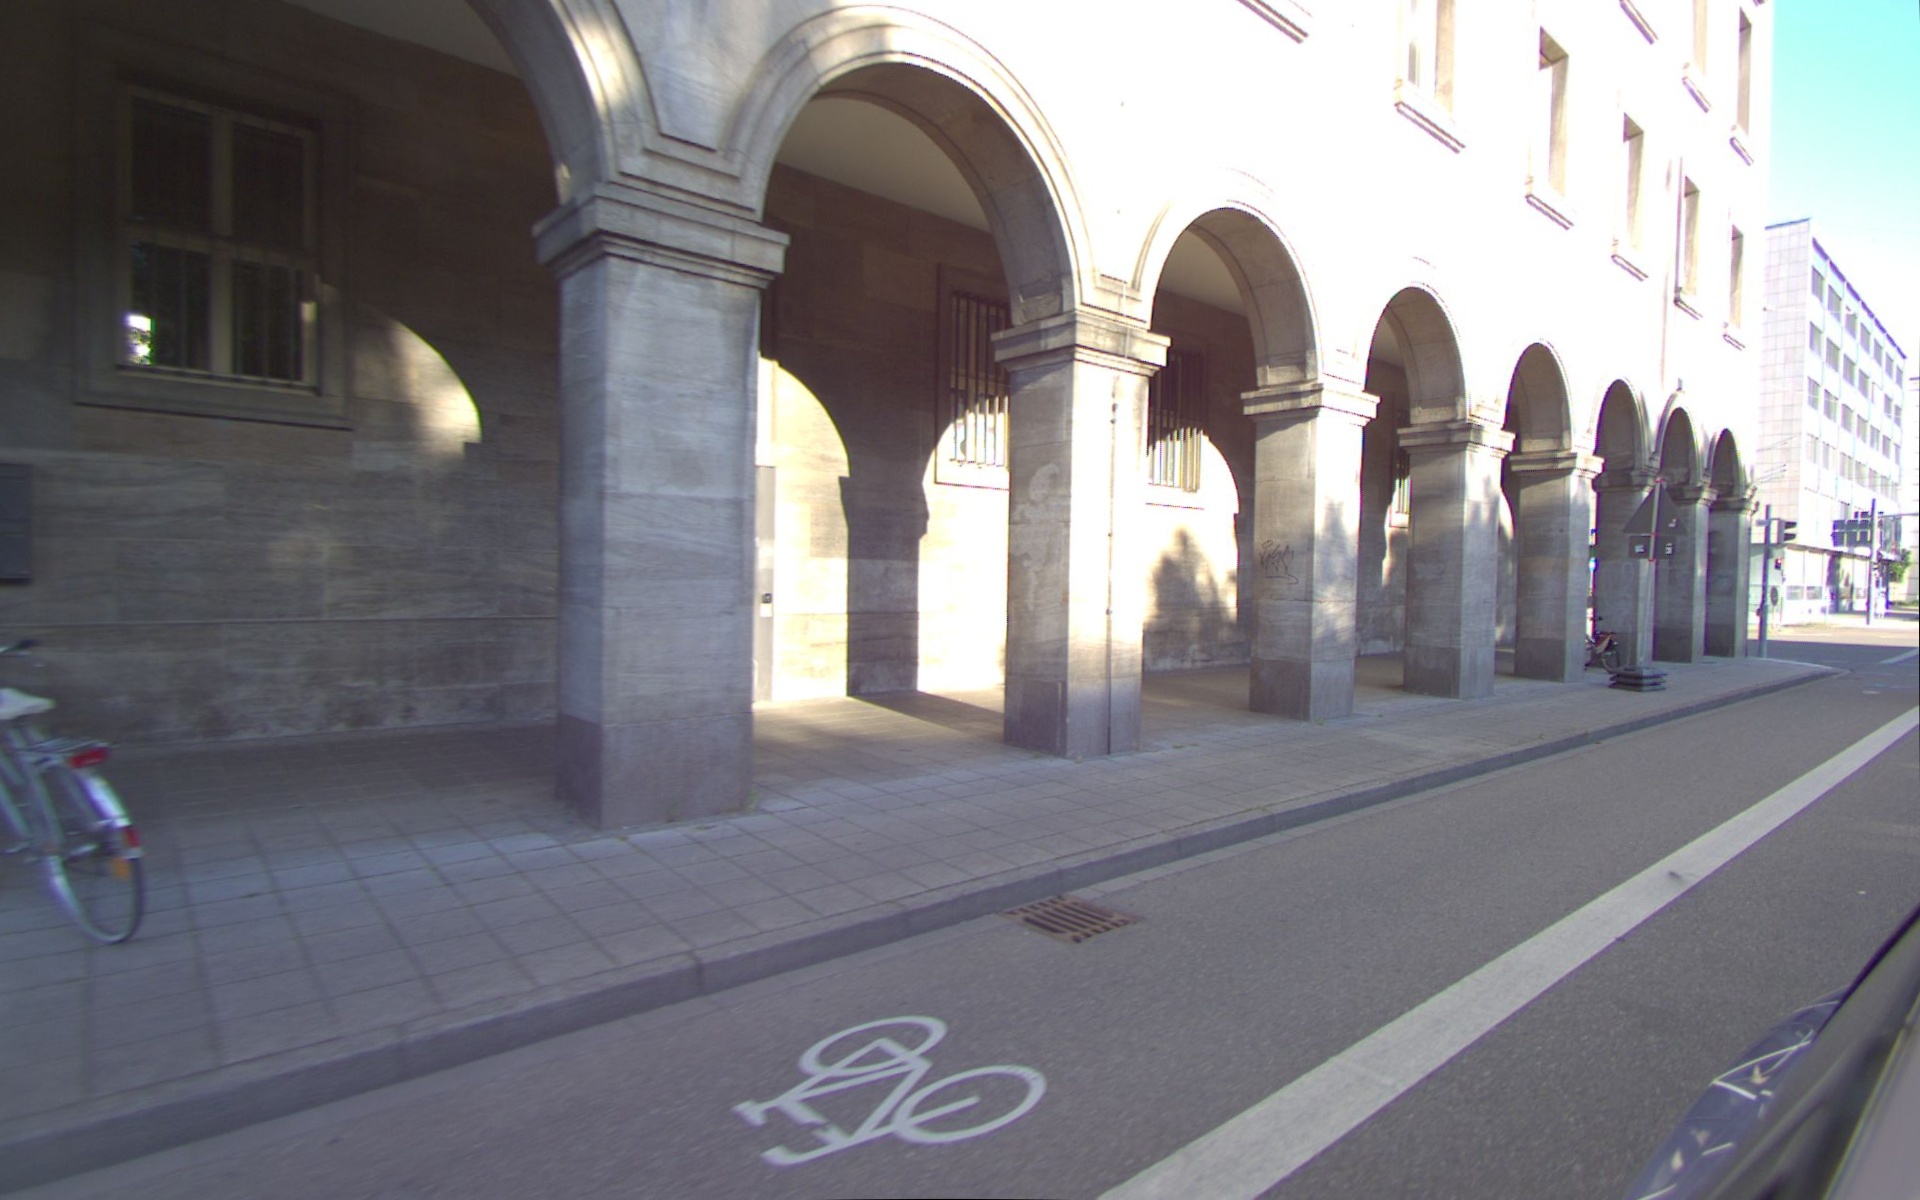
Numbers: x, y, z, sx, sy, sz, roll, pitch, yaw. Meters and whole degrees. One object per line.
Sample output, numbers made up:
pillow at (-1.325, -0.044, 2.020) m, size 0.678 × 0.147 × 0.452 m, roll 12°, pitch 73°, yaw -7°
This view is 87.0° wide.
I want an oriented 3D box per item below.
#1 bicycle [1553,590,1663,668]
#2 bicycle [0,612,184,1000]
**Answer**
bicycle at (10.780, 0.453, 16.908) m, size 0.651 × 1.147 × 1.714 m, roll 2°, pitch 3°, yaw -1°
bicycle at (-3.504, 0.642, 3.755) m, size 1.703 × 1.063 × 0.521 m, roll 4°, pitch 3°, yaw 36°
